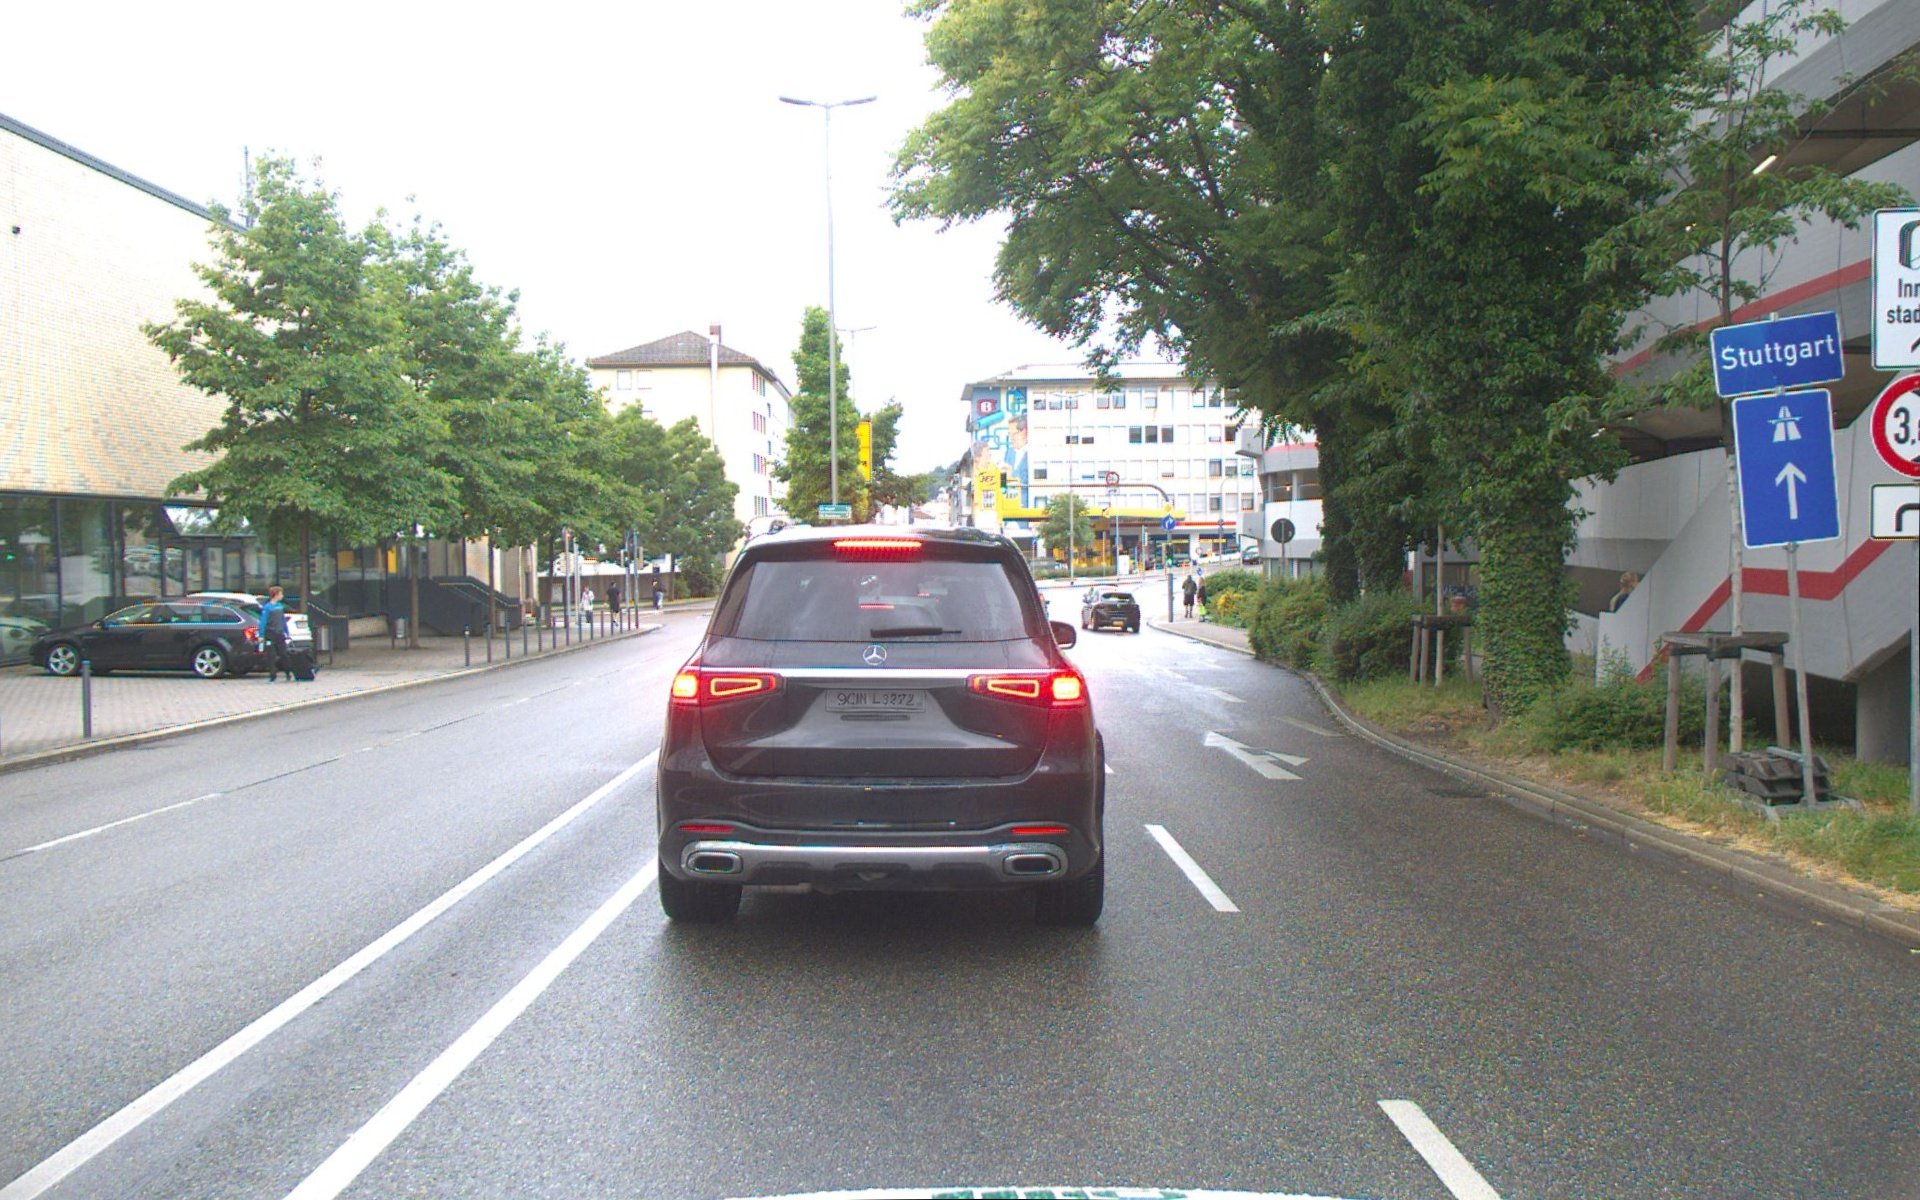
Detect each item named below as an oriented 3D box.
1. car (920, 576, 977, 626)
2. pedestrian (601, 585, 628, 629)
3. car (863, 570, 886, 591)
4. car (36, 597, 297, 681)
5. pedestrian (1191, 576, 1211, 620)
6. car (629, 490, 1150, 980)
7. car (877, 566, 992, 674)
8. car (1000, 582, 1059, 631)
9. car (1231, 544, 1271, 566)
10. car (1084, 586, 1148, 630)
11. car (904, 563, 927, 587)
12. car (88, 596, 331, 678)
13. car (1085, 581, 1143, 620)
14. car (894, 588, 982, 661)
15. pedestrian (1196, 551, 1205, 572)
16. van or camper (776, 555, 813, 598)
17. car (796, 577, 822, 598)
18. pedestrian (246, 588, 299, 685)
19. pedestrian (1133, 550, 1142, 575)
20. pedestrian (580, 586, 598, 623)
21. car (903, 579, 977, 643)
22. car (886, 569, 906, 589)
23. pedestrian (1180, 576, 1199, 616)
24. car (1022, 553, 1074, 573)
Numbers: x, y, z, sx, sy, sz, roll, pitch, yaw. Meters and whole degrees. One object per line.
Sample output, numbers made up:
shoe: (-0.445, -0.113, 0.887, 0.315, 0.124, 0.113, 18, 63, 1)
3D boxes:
car: (-0.409, 0.042, 56.873, 1.869, 1.614, 3.999, 1, 0, -1)
pedestrian: (-13.618, 0.274, 65.231, 0.931, 1.734, 0.709, 1, -1, -18)
car: (-7.447, -1.652, 143.714, 1.868, 1.733, 3.997, 1, 0, -4)
car: (-15.253, 0.745, 32.006, 4.097, 1.521, 1.997, 1, 0, -8)
pedestrian: (9.535, -0.072, 65.418, 0.634, 1.740, 0.470, 0, -1, 35)
car: (-0.292, 0.525, 8.289, 1.953, 1.832, 3.999, 1, 0, -1)
car: (-0.470, 0.358, 30.655, 1.953, 1.832, 3.999, 1, 0, -1)
car: (2.360, 0.202, 57.081, 1.759, 1.552, 4.055, 1, 1, -1)
car: (24.403, -3.784, 138.653, 1.958, 1.735, 3.990, -1, 1, 33)
car: (5.532, 0.284, 59.036, 1.906, 1.512, 4.000, 1, 0, 0)
car: (-4.074, -2.262, 150.547, 1.953, 2.049, 4.000, 1, 0, 0)
car: (-15.494, 0.751, 34.319, 4.090, 1.574, 2.000, 1, 0, 0)
car: (6.498, 0.039, 69.668, 1.717, 1.576, 4.002, 1, 0, 16)
car: (-0.498, 0.540, 37.684, 1.869, 1.527, 3.999, 1, 0, -1)
pedestrian: (19.928, -3.193, 137.013, 0.515, 1.757, 0.689, 0, 1, 26)
van or camper: (-10.775, -1.518, 107.858, 2.060, 2.627, 5.904, -2, 0, -3)
car: (-11.166, -0.904, 122.805, 1.761, 1.521, 3.801, 1, 0, -3)
pedestrian: (-12.599, 0.670, 30.321, 0.621, 1.744, 0.705, 1, -1, 2)
pedestrian: (12.928, -2.728, 120.443, 0.560, 1.727, 0.631, 1, -1, 0)
pedestrian: (-16.903, 0.212, 75.367, 0.630, 1.695, 1.017, 1, 0, -7)
car: (-0.531, 0.288, 44.240, 1.869, 1.614, 3.999, 1, 0, -1)
car: (-6.851, -2.196, 177.637, 1.953, 2.049, 4.000, 1, 0, 0)
pedestrian: (9.851, -0.170, 71.117, 0.703, 1.720, 0.455, 1, -1, -7)
car: (6.837, -2.879, 128.652, 1.724, 1.400, 3.935, -3, 1, -44)
